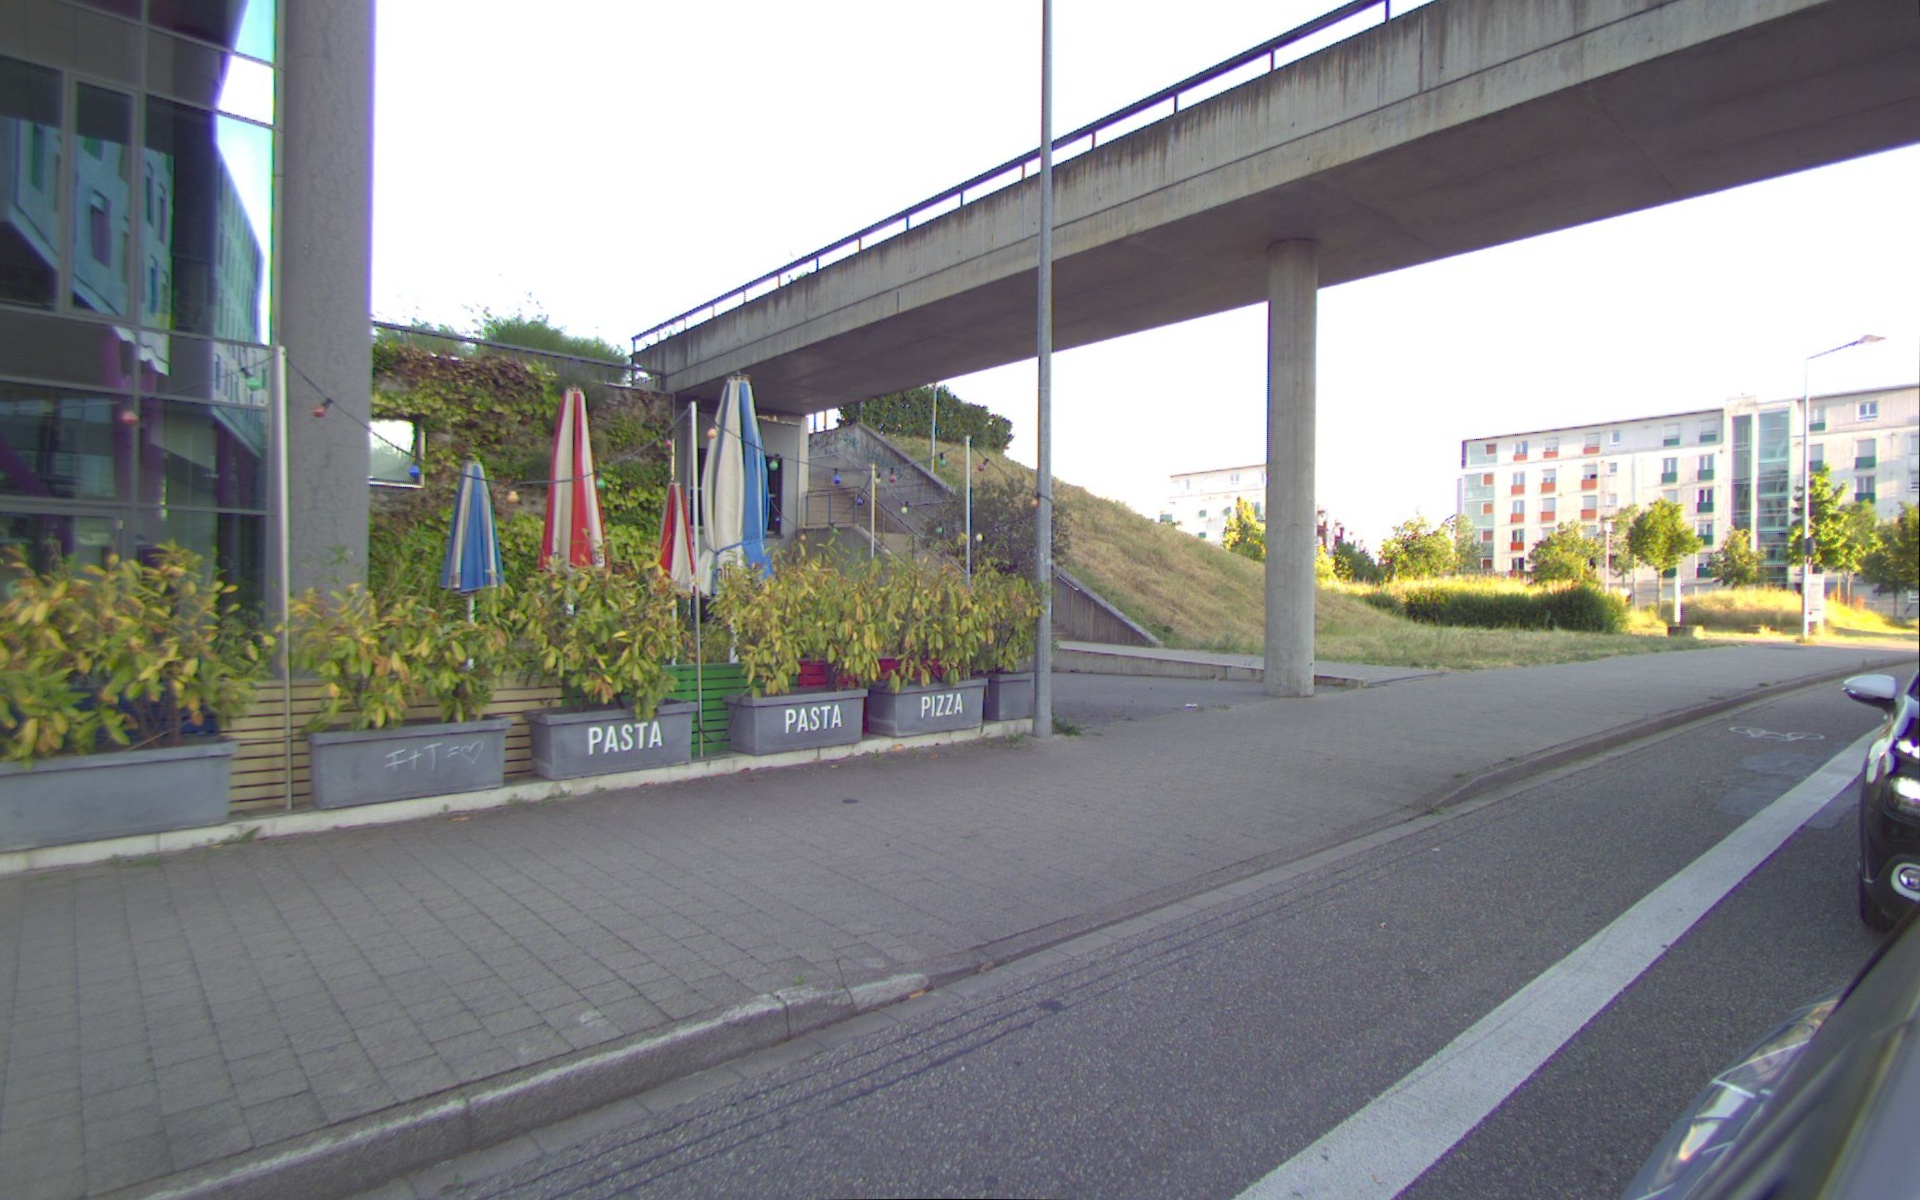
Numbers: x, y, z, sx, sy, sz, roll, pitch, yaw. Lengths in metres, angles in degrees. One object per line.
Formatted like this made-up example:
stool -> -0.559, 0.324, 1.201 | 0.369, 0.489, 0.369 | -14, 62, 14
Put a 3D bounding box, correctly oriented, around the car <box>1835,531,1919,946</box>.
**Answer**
car -> 5.514, 0.536, 4.735 | 4.003, 1.572, 1.757 | 0, 0, -43
